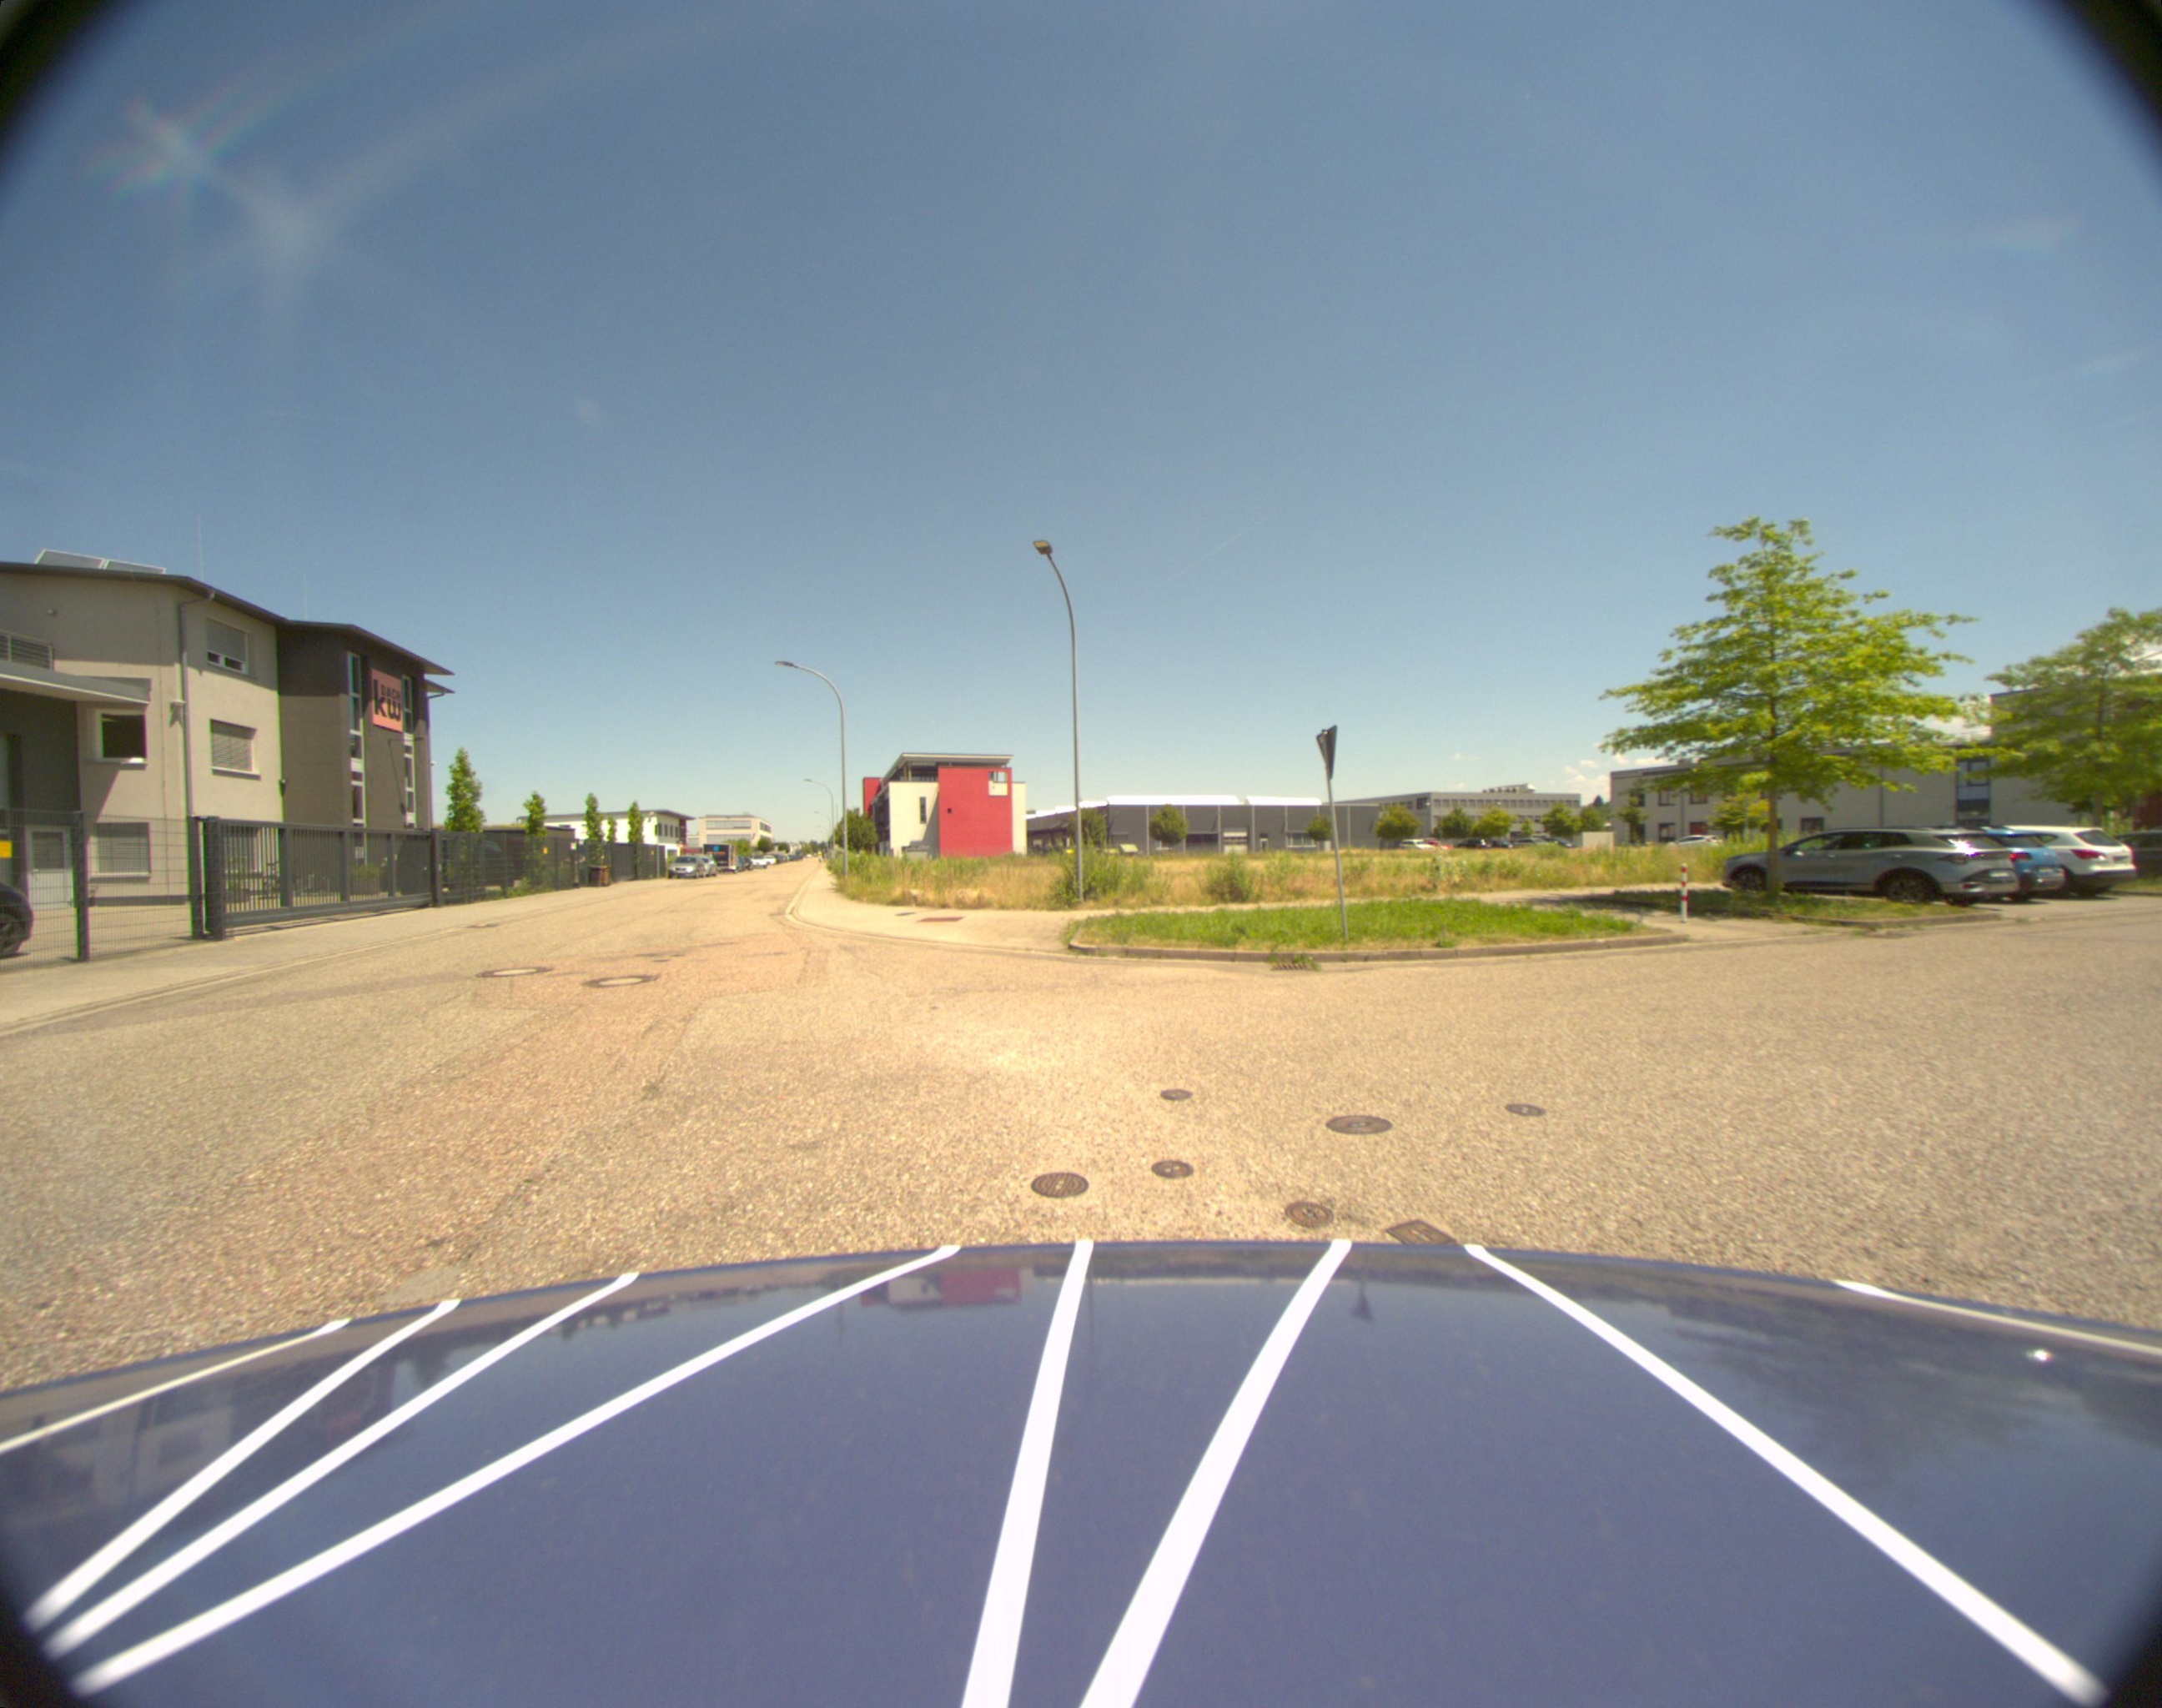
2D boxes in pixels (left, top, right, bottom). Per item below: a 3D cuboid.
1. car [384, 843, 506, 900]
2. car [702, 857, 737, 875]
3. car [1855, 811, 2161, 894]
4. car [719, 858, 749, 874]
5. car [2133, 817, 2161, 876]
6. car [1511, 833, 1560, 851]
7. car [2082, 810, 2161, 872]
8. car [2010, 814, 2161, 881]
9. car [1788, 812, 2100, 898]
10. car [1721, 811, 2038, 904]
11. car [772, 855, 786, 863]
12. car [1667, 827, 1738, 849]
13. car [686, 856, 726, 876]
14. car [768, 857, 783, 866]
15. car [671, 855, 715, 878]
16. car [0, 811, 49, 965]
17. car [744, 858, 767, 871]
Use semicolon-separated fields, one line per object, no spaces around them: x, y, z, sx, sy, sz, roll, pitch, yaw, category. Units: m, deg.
-21.923;0.545;26.420;1.932;1.784;3.993;-1;1;-19;car
-27.385;0.903;57.708;1.831;1.269;3.879;-1;1;-17;car
21.744;-0.061;18.034;1.959;1.688;4.302;-2;1;-16;car
-29.516;1.006;64.749;1.831;1.269;3.879;-1;1;-17;car
32.733;-0.226;20.798;1.959;1.688;4.198;-2;1;-16;car
47.355;-1.231;79.249;2.002;1.740;3.993;-1;1;-20;car
30.697;-0.388;20.398;1.959;1.688;4.198;-2;1;-16;car
28.140;-0.195;20.030;1.959;1.688;4.198;-2;1;-16;car
19.399;-0.012;17.410;1.959;1.688;4.302;-2;1;-16;car
16.869;0.034;16.400;1.959;1.688;4.302;-2;1;-16;car
-49.129;0.749;123.556;1.831;1.269;3.879;-1;1;-17;car
50.677;-1.256;62.047;2.002;1.740;3.993;-1;1;-19;car
-25.808;0.826;52.422;1.831;1.269;3.879;-1;1;-17;car
-47.421;1.173;117.822;1.831;1.269;3.879;-1;1;-17;car
-24.367;0.757;47.809;1.831;1.269;3.879;-1;1;-17;car
-15.510;0.509;8.686;1.922;2.149;4.772;-2;1;-18;car
-34.063;1.073;79.516;1.831;1.269;3.879;-1;1;-17;car
